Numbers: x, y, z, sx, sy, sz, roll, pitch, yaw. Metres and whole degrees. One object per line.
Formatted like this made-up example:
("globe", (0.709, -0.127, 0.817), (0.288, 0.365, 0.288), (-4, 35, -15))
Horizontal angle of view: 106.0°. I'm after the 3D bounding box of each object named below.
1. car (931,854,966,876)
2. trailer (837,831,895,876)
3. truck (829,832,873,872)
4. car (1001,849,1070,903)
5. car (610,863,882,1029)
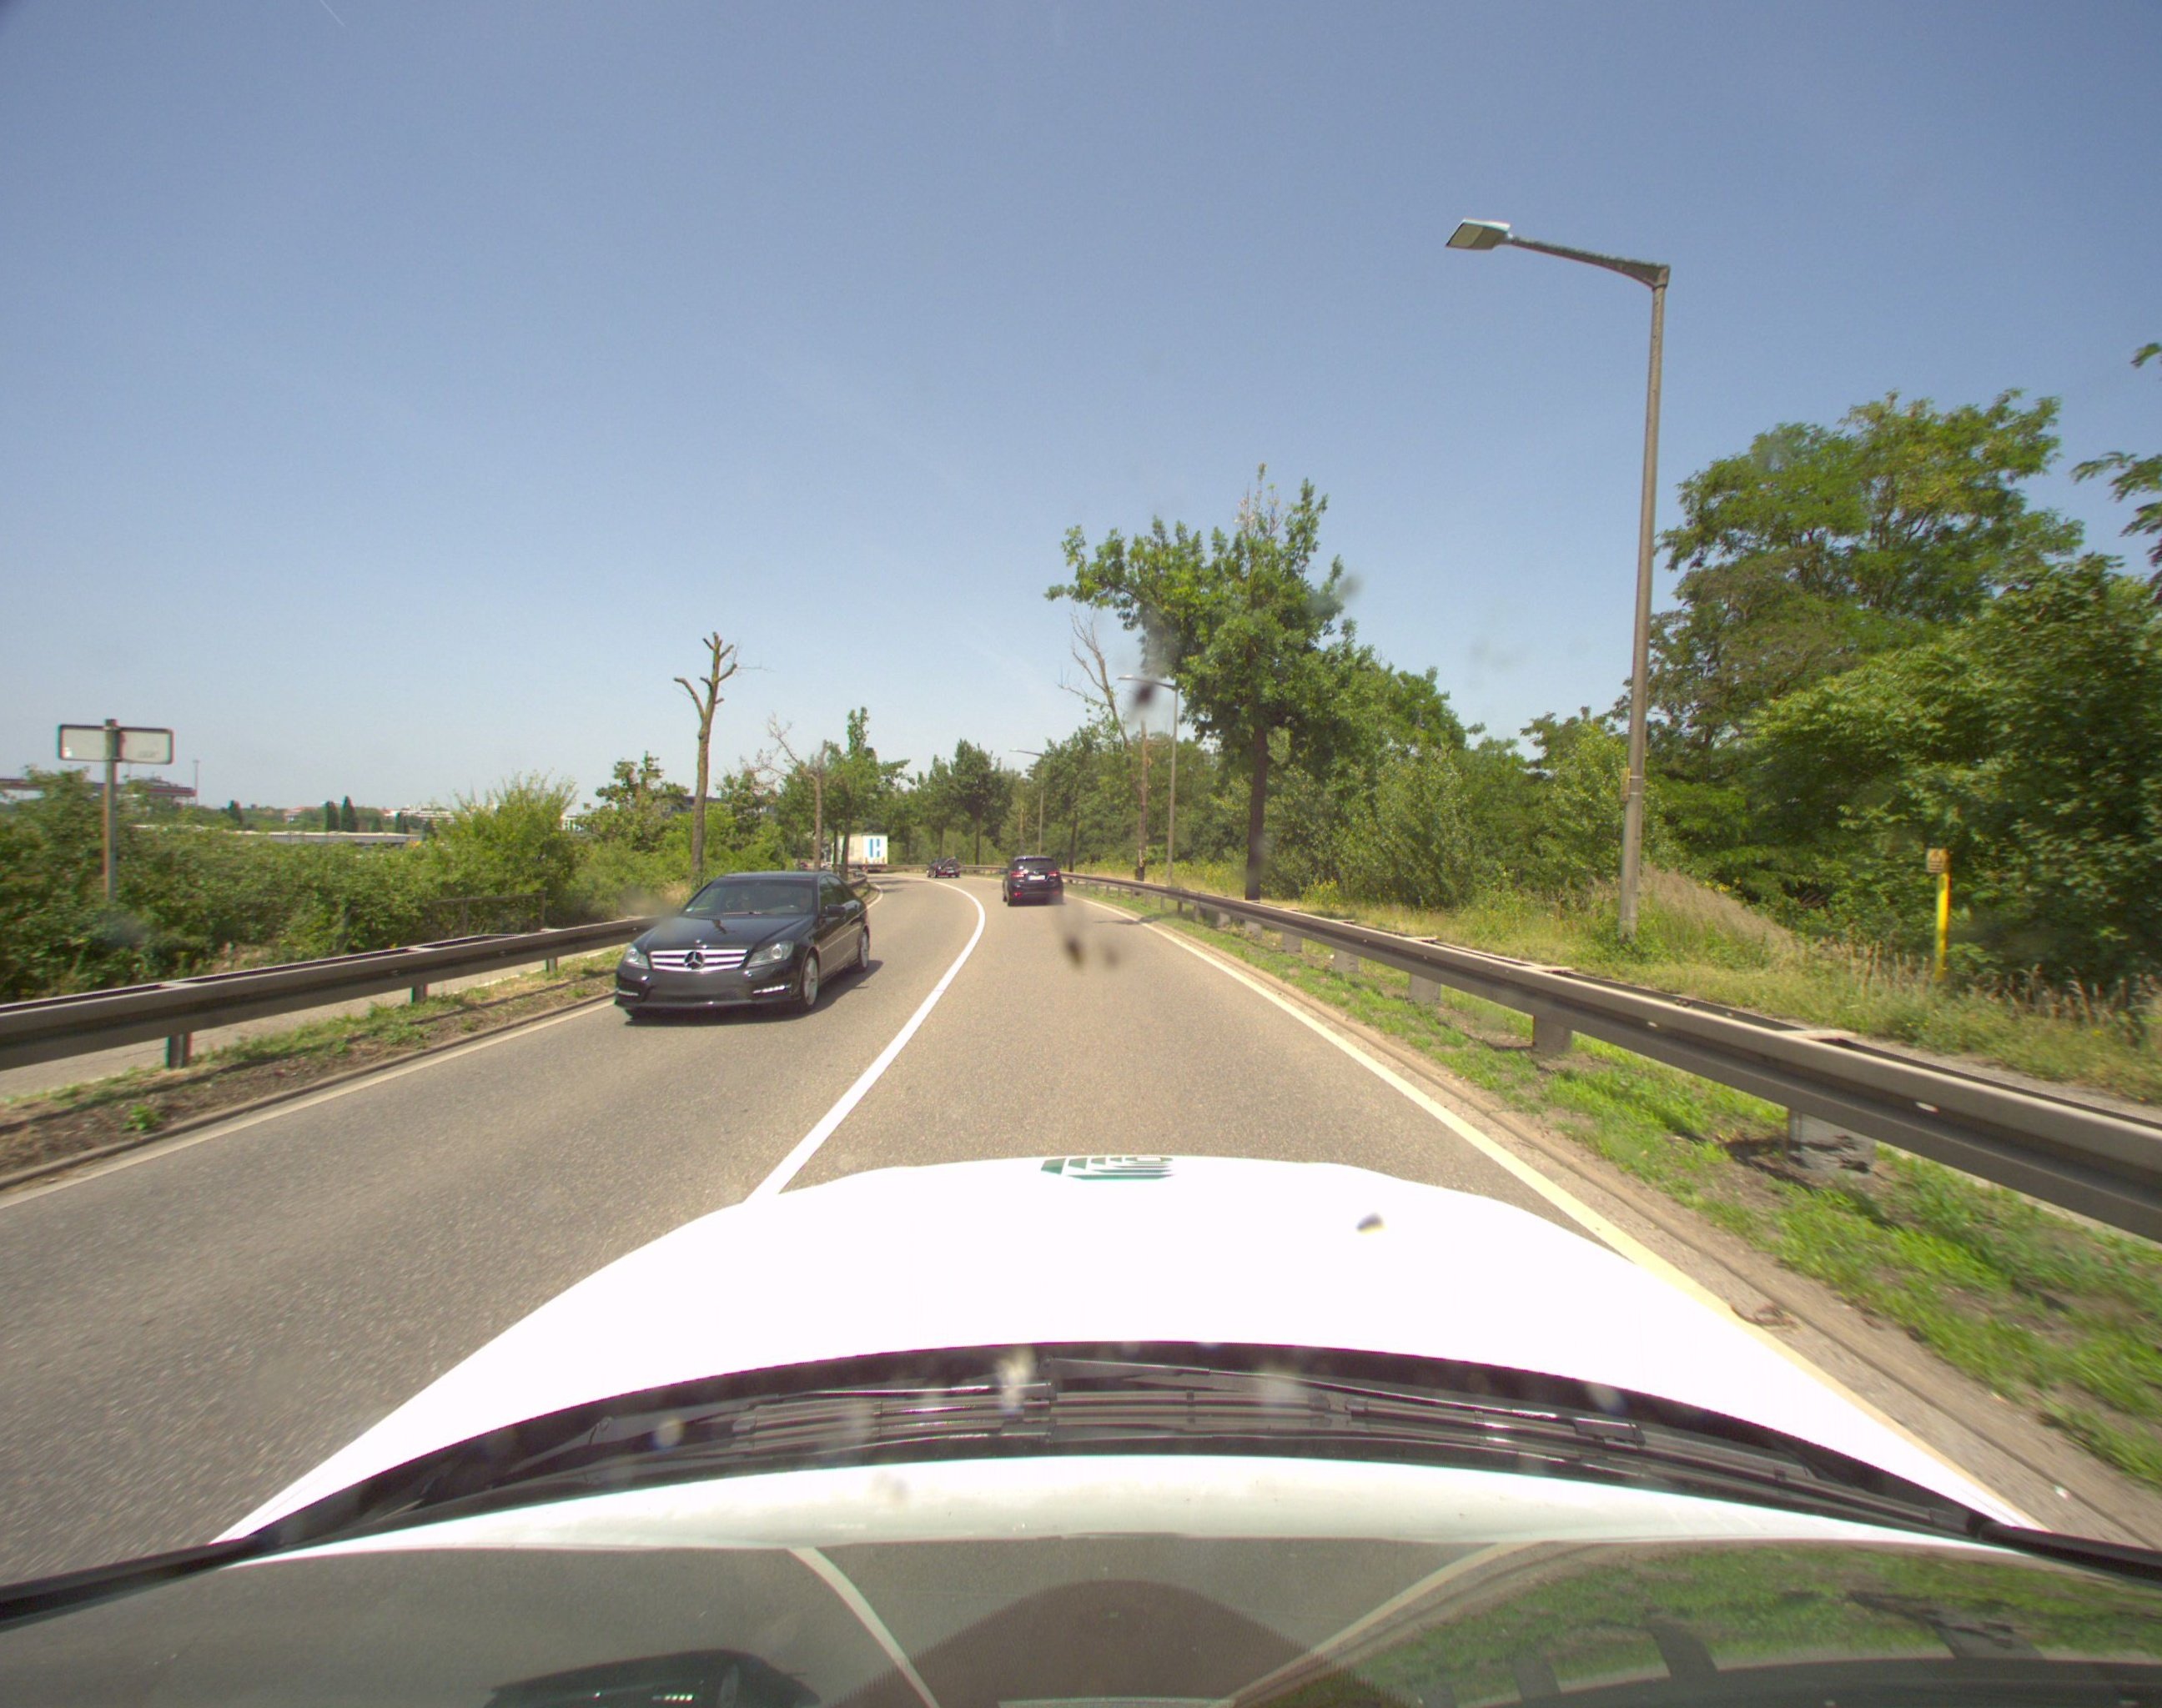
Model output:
("car", (-9.404, 0.741, 57.469), (2.016, 1.429, 3.756), (-1, 1, -16))
("trailer", (-22.725, -0.137, 85.473), (3.589, 4.383, 11.342), (-1, 1, -26))
("truck", (-26.102, -0.297, 92.286), (3.592, 4.440, 6.458), (-1, 1, -27))
("car", (-1.577, 0.670, 26.885), (1.920, 1.574, 3.881), (-1, 1, -8))
("car", (-3.600, 0.867, 9.611), (1.672, 1.443, 4.124), (-1, 0, -3))
